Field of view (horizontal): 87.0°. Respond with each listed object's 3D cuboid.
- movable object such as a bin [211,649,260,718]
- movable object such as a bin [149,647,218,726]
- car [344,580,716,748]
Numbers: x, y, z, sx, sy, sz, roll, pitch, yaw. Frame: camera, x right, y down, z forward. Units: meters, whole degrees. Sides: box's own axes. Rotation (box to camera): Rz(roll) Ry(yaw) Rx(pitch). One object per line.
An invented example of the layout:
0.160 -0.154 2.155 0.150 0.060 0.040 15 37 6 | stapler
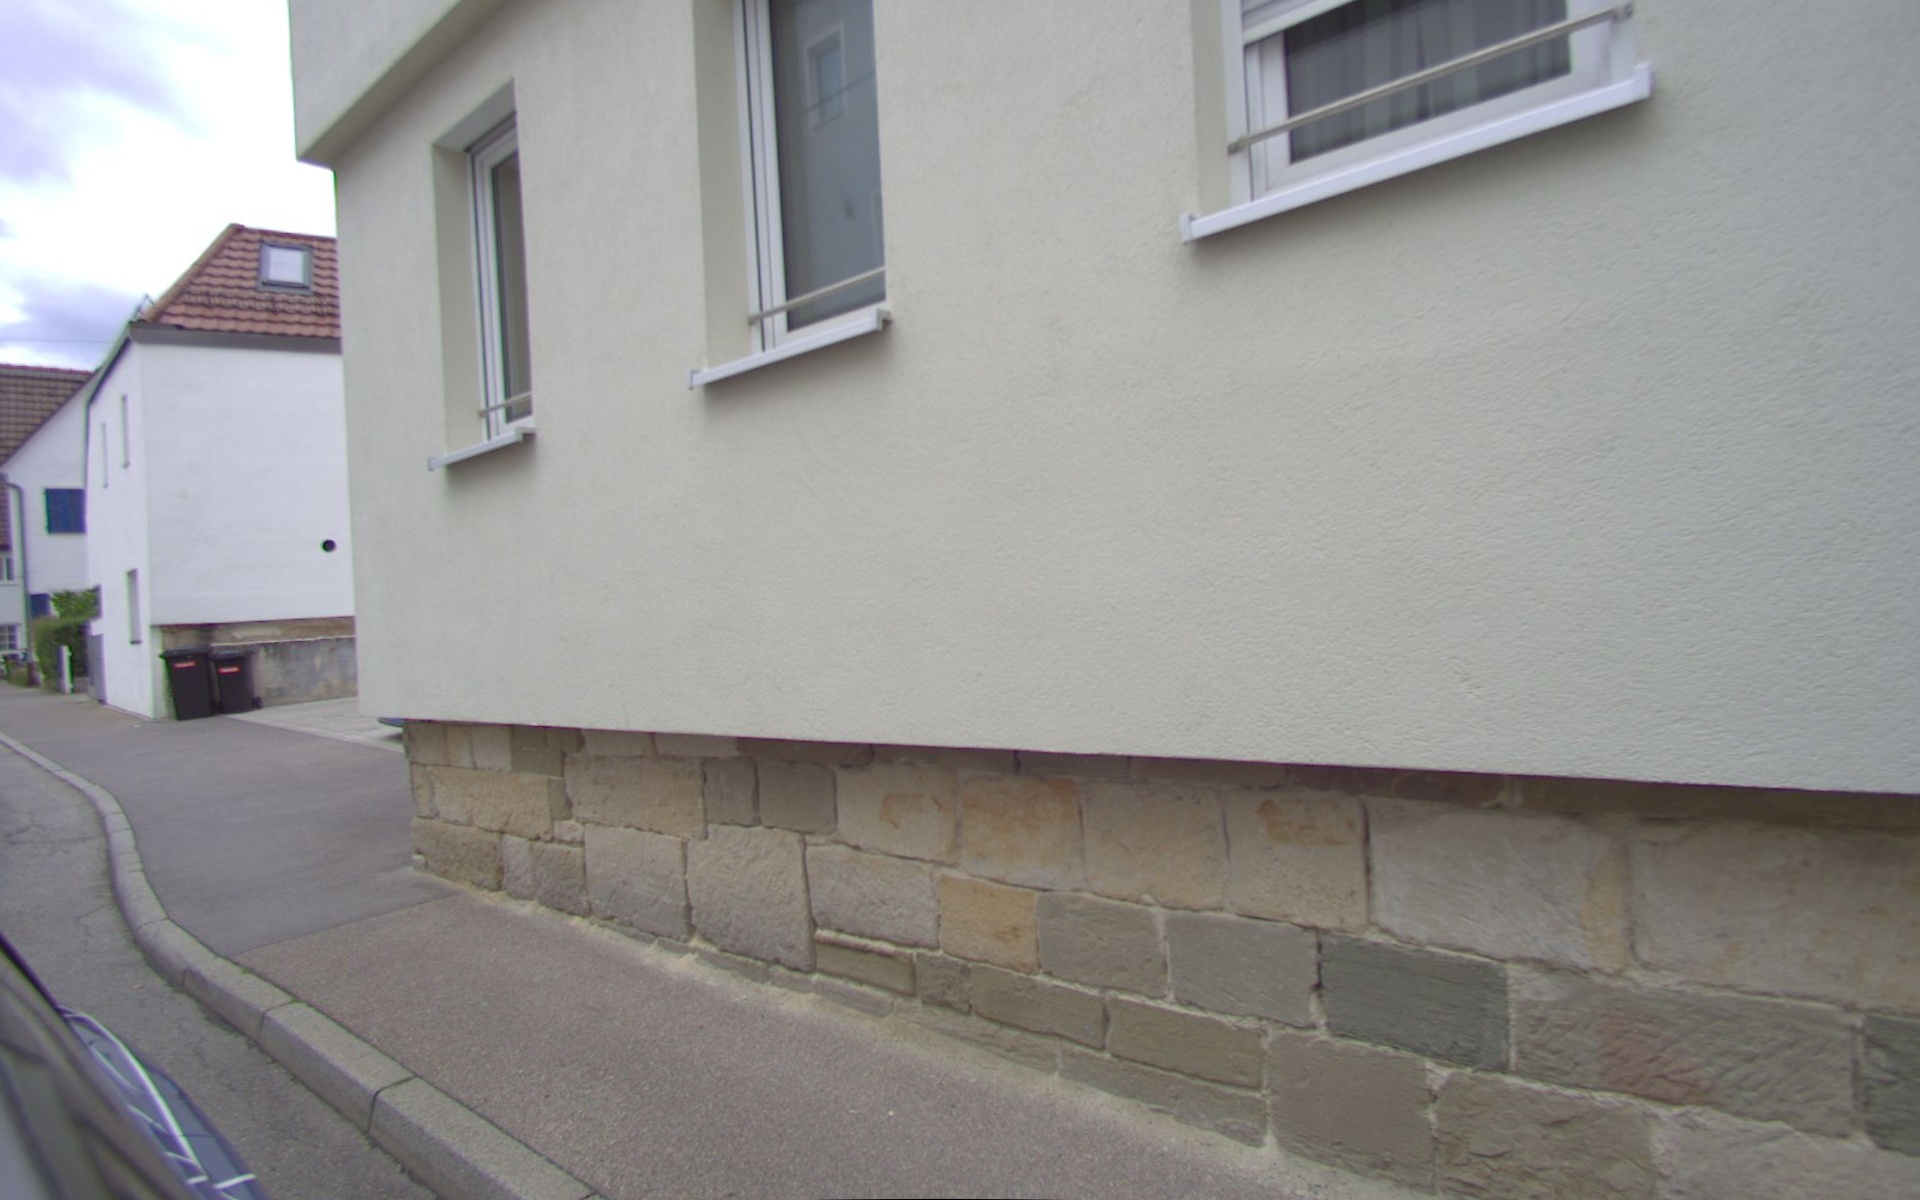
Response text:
-10.785 1.230 15.074 0.491 0.941 0.626 -6 2 -33 | movable object such as a bin
-11.302 1.243 14.760 0.631 1.039 0.797 -6 2 -31 | movable object such as a bin
-4.876 0.627 11.796 1.632 1.360 3.549 -2 4 44 | car
